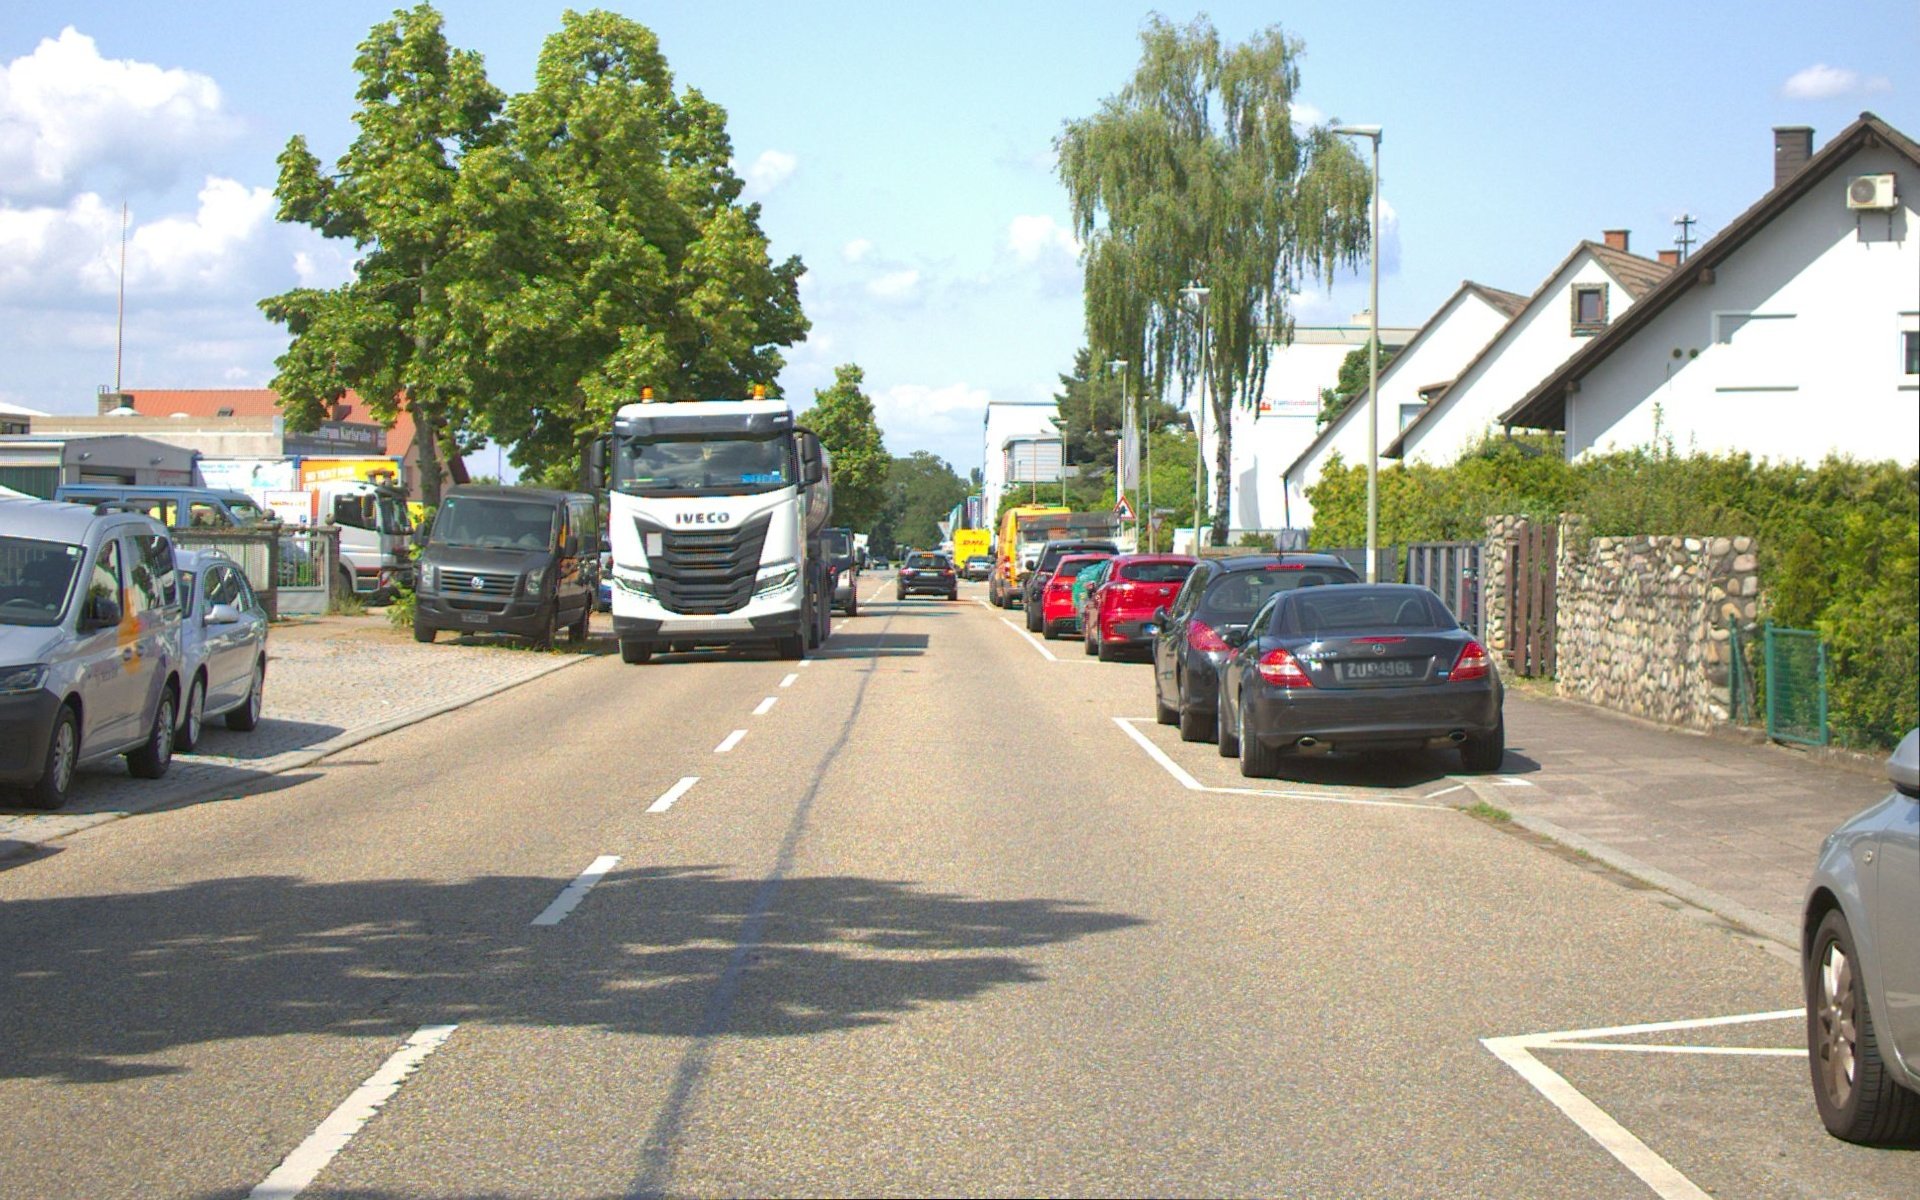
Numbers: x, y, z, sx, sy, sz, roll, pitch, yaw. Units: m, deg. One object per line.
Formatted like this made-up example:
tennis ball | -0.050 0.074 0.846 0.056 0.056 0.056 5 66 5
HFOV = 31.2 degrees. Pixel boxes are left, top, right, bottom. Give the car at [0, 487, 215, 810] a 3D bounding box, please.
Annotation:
car | -6.090 0.190 21.660 1.809 1.800 4.491 4 1 -1

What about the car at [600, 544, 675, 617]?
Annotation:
car | -6.841 -0.438 73.123 1.247 1.513 3.366 0 1 0

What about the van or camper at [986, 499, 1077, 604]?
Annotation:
van or camper | 1.837 -1.279 90.268 1.993 2.655 5.770 0 1 -2

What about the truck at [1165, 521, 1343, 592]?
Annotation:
truck | 10.825 -1.629 126.488 6.039 2.568 2.567 0 1 -26

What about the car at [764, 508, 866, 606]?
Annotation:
car | -3.154 -0.957 75.604 2.051 2.027 5.142 -1 1 -1

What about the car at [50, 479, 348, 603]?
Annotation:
car | -14.123 -1.085 63.899 5.003 2.224 1.999 1 0 13

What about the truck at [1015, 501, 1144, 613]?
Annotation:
truck | 2.492 -0.933 73.242 2.522 2.291 5.895 0 1 0

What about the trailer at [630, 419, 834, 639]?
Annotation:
trailer | -3.390 -1.060 52.182 2.834 3.058 8.891 0 1 -3

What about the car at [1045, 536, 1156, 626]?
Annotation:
car | 2.318 -0.333 57.567 1.684 1.430 4.146 1 1 0

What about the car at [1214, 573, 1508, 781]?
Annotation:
car | 2.811 0.496 24.819 1.710 1.313 3.963 0 1 1

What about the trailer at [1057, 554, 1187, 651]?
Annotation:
trailer | 2.419 0.004 52.231 1.608 1.373 4.433 1 1 -2

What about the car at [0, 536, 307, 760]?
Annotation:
car | -6.508 0.314 27.681 1.748 1.456 4.710 4 2 -3

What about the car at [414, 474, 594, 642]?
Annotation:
car | -6.561 -0.654 49.851 2.168 2.252 4.001 2 2 -3

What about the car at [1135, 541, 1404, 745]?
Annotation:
car | 2.566 0.304 29.360 1.743 1.545 4.122 2 1 -2

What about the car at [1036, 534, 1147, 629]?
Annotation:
car | 2.360 -0.359 62.615 1.830 1.656 4.554 1 1 0

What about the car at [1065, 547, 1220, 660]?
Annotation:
car | 2.467 0.010 47.566 1.691 1.458 4.756 1 1 -2

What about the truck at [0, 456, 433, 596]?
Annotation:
truck | -15.872 -1.540 71.726 9.259 2.846 2.720 0 1 4

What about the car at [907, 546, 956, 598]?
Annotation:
car | -0.835 -0.850 102.777 1.427 1.513 3.017 0 1 0

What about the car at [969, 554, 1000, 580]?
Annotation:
car | 1.359 -1.881 195.070 1.651 1.382 4.423 1 1 0

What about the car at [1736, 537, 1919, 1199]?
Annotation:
car | 3.080 0.657 7.459 1.745 1.547 4.292 1 1 -1

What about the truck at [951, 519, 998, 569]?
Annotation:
truck | 0.864 -3.350 206.457 2.474 2.930 7.189 2 1 -2

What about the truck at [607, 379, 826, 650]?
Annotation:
truck | -3.256 -1.158 47.347 2.772 3.487 5.882 0 1 -2
